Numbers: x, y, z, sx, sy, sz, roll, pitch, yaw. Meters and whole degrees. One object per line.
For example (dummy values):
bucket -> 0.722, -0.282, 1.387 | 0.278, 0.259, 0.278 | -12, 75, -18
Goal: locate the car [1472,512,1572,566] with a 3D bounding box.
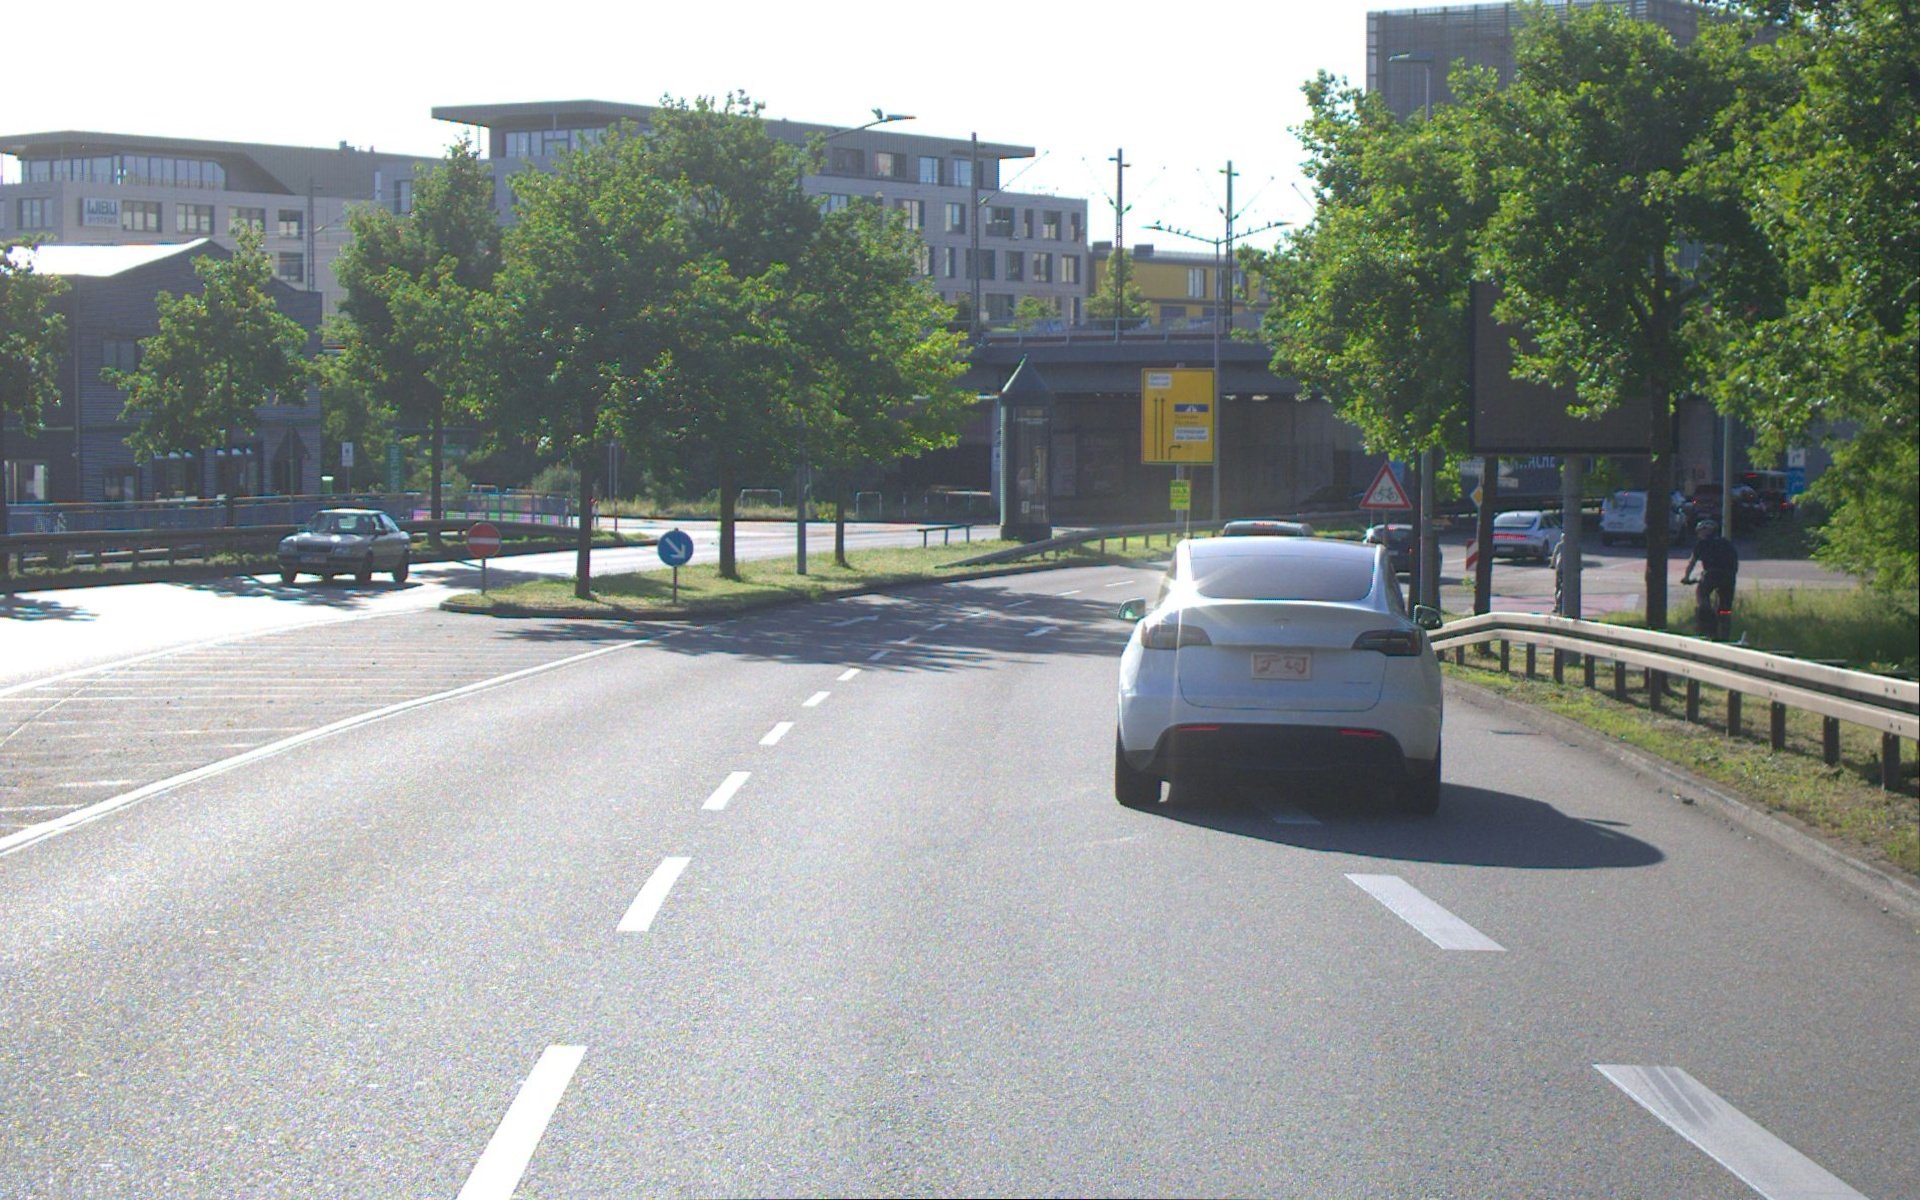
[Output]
car -> 16.677, -1.823, 101.937 | 1.766, 1.470, 4.283 | 2, 3, 25

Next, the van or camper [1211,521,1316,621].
van or camper -> 6.098, -0.612, 69.121 | 1.959, 1.877, 4.879 | 2, 1, 5

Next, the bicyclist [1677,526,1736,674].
bicyclist -> 9.094, -0.007, 41.882 | 0.675, 1.770, 0.948 | -1, 1, 12

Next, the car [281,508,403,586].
car -> -11.857, -1.046, 66.193 | 1.729, 1.381, 4.497 | 2, 1, -3

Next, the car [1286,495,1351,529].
car -> 14.765, -3.617, 141.499 | 1.801, 1.305, 4.612 | 3, 2, 17

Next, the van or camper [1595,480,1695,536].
van or camper -> 22.989, -3.099, 115.217 | 1.829, 1.784, 4.537 | 4, 4, 30

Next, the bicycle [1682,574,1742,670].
bicycle -> 9.210, 0.255, 42.128 | 0.695, 1.091, 2.117 | -1, 2, 12

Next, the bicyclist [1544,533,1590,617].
bicyclist -> 11.806, -0.495, 66.886 | 0.746, 1.613, 0.912 | 0, 2, 18

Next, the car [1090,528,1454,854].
car -> 1.931, 0.459, 21.351 | 1.914, 1.635, 4.410 | 4, 2, 5

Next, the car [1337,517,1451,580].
car -> 11.270, -1.349, 89.045 | 1.607, 1.429, 3.673 | 4, 4, 29

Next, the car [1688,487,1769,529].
car -> 29.404, -3.541, 131.513 | 1.711, 1.517, 3.735 | 3, 4, 34

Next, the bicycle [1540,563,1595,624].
bicycle -> 11.842, -0.134, 66.921 | 0.743, 1.108, 2.450 | 0, 2, 17

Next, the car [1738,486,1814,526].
car -> 32.608, -3.769, 137.334 | 1.711, 1.517, 3.735 | 3, 4, 34

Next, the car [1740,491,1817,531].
car -> 32.717, -3.566, 137.362 | 1.711, 1.517, 3.735 | 3, 4, 34
